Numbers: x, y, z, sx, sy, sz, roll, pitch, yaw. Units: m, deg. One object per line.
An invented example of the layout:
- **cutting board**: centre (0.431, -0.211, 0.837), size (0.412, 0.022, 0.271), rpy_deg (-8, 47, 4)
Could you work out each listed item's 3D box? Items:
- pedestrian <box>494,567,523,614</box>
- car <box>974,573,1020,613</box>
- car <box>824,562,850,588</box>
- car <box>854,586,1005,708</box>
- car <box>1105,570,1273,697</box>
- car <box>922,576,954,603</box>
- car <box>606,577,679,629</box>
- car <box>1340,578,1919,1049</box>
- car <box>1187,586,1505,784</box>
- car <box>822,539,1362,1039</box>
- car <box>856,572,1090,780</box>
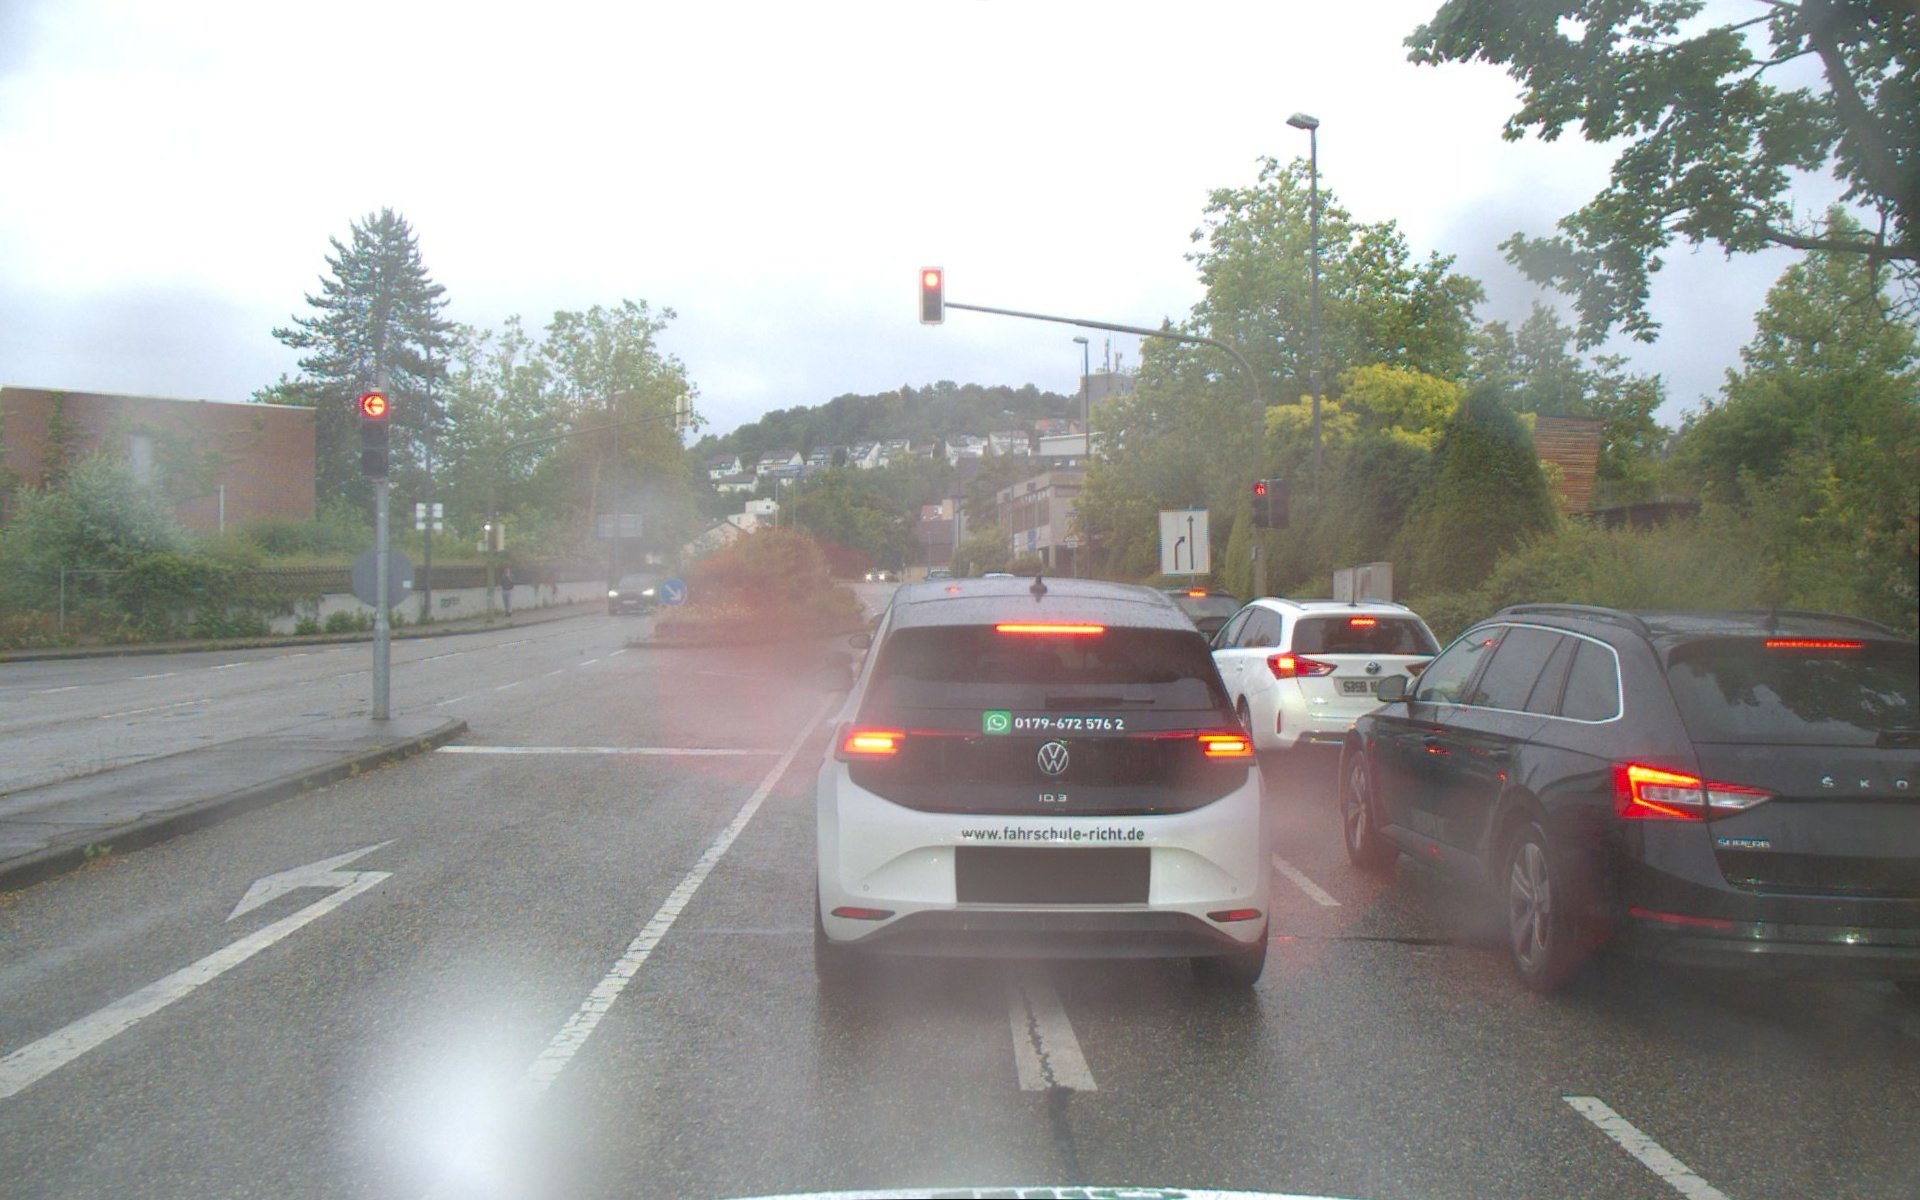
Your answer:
- **pedestrian**: centre (-15.629, -0.316, 57.229), size (0.744, 1.595, 0.825), rpy_deg (-2, 0, -2)
- **car**: centre (1.407, -0.252, 64.084), size (1.549, 1.492, 3.998), rpy_deg (-1, 0, -2)
- **car**: centre (-10.390, -2.086, 140.215), size (1.953, 2.049, 3.999), rpy_deg (1, -1, -1)
- **car**: centre (-0.417, 0.554, 21.958), size (1.800, 1.424, 3.830), rpy_deg (1, 1, -1)
- **car**: centre (3.136, 0.434, 23.355), size (1.739, 1.609, 3.999), rpy_deg (1, 0, -1)
- **car**: centre (-1.284, -0.623, 94.999), size (1.726, 1.443, 3.747), rpy_deg (-1, 1, -3)
- **car**: centre (-12.051, 0.103, 63.029), size (1.953, 1.836, 3.999), rpy_deg (-3, 0, -1)
- **car**: centre (3.117, 0.676, 7.494), size (1.800, 1.492, 4.350), rpy_deg (1, 1, 1)
- **car**: centre (3.296, 0.652, 14.971), size (1.800, 1.492, 4.116), rpy_deg (1, 1, -1)
- **car**: centre (0.398, 0.622, 7.925), size (1.800, 1.657, 4.614), rpy_deg (1, 1, -1)
- **car**: centre (0.054, 0.575, 15.034), size (1.800, 1.582, 4.174), rpy_deg (1, 1, -1)
